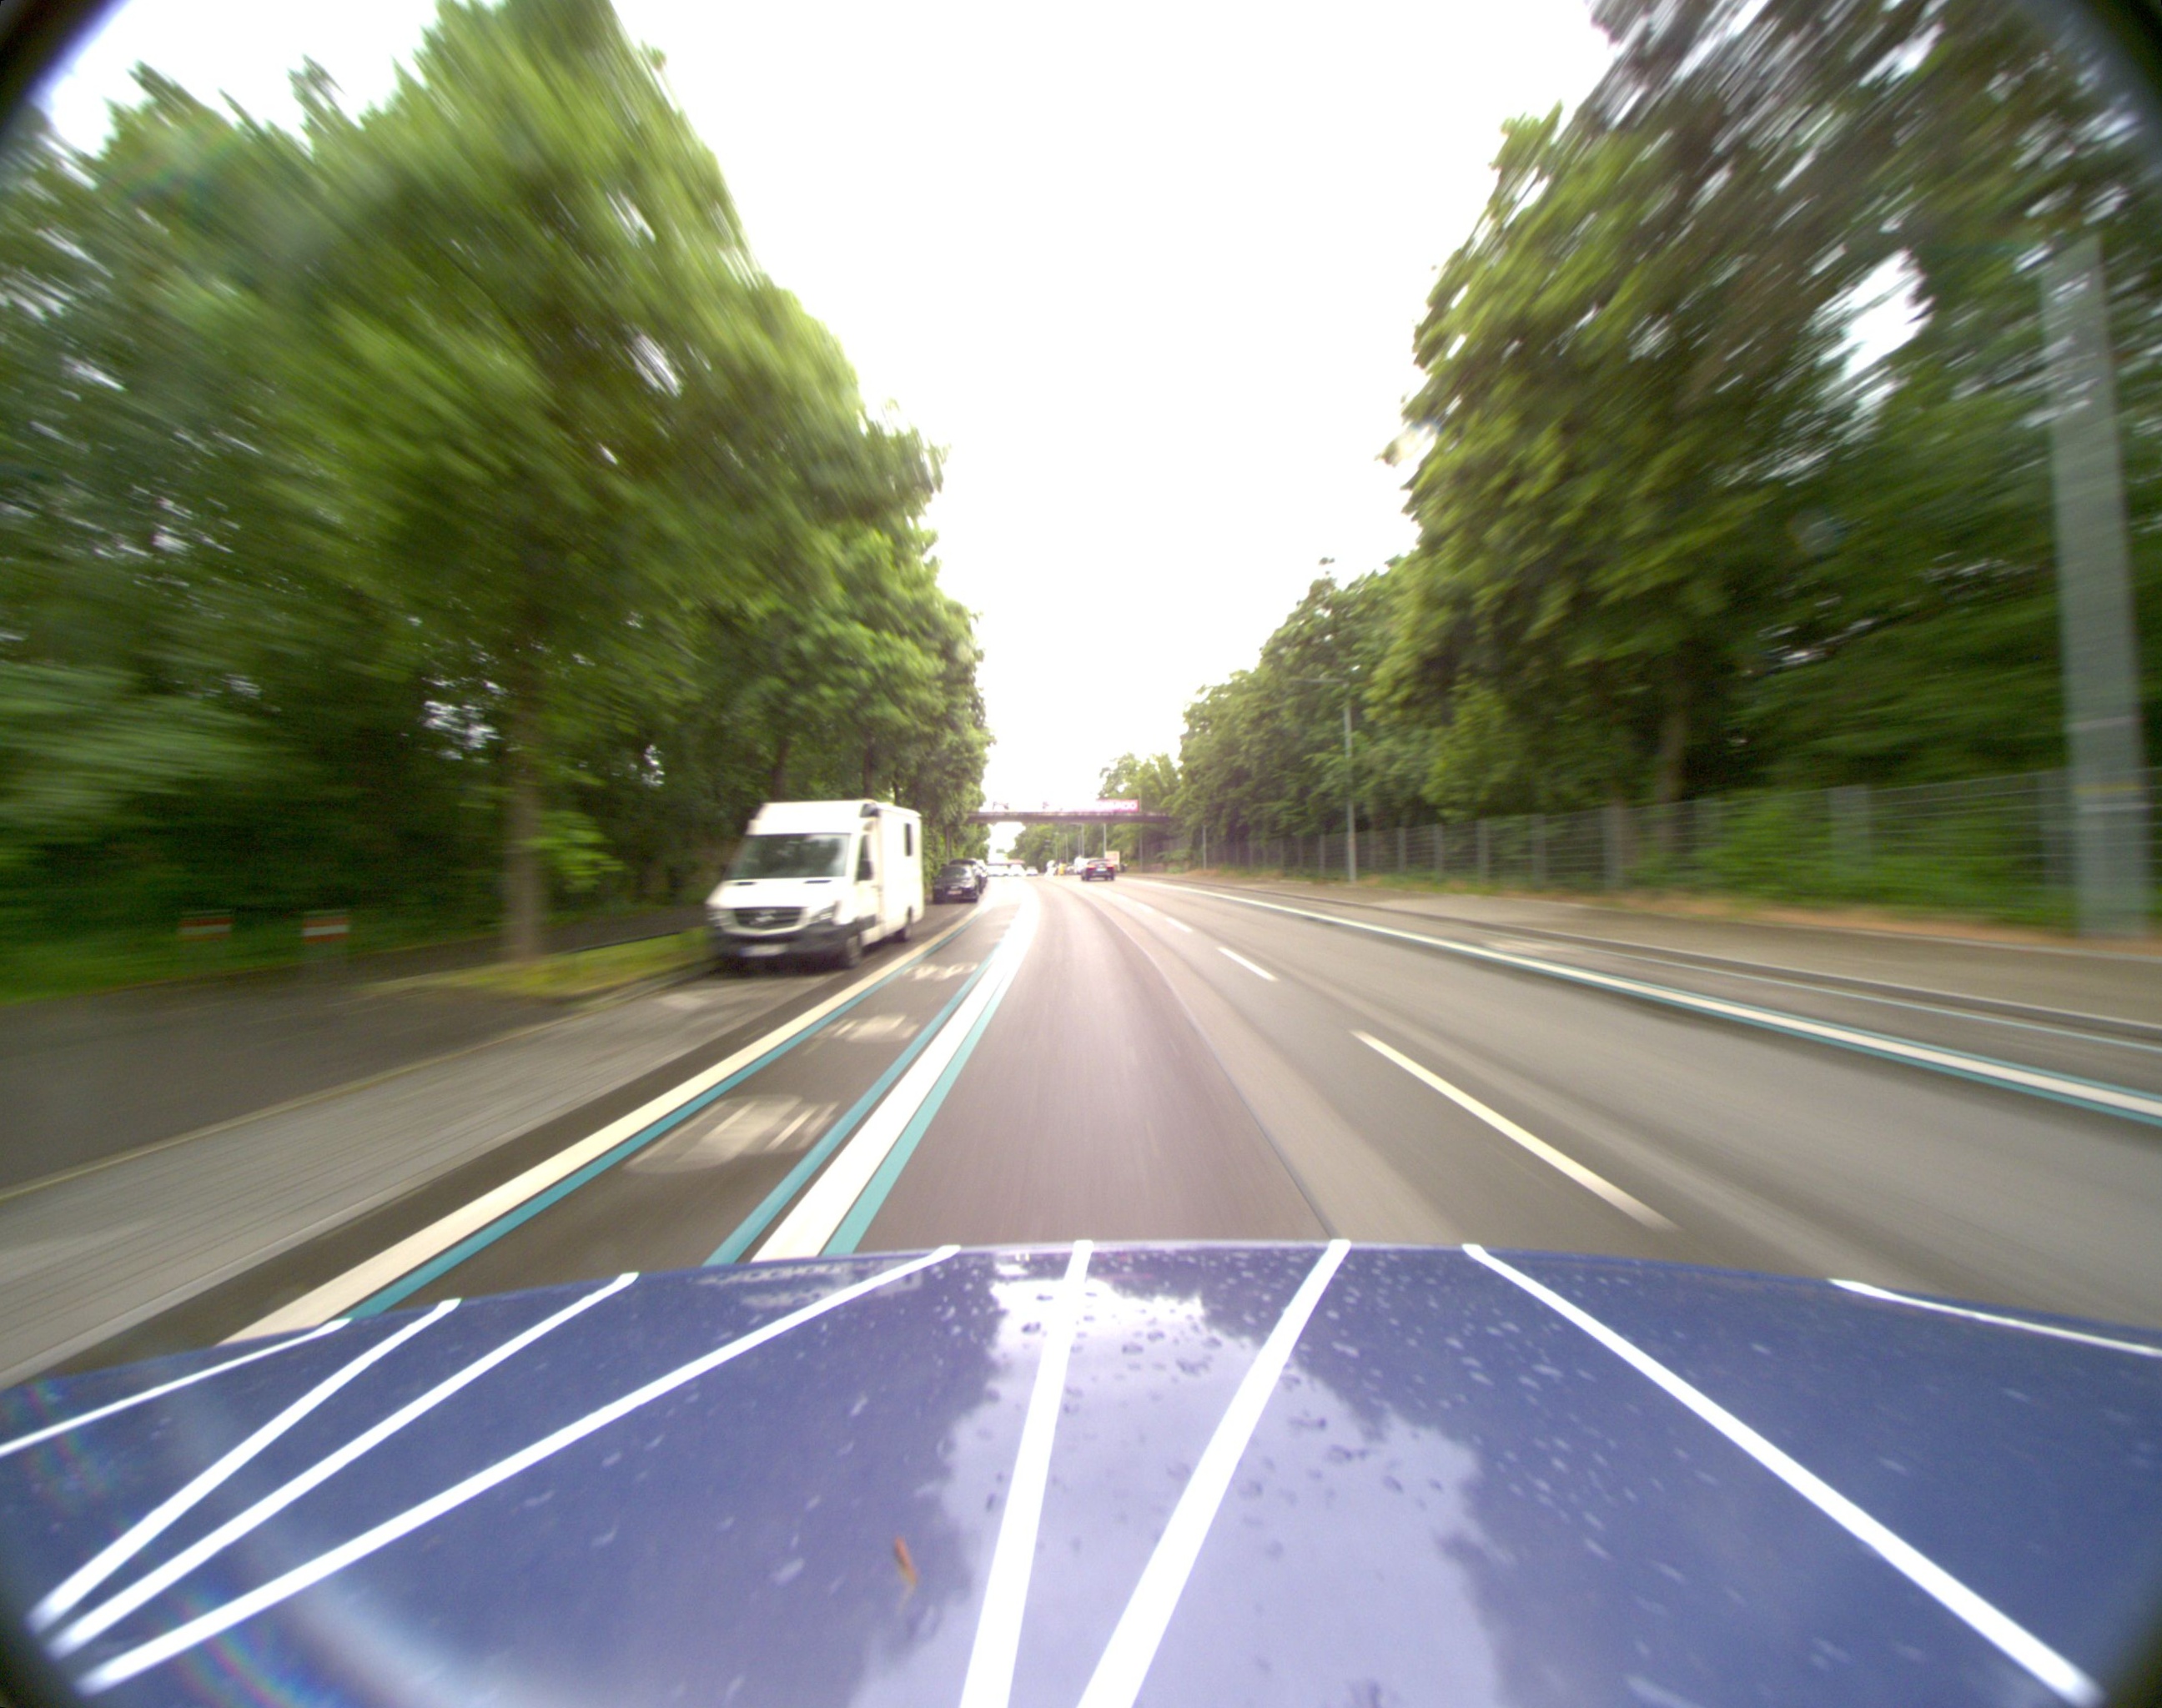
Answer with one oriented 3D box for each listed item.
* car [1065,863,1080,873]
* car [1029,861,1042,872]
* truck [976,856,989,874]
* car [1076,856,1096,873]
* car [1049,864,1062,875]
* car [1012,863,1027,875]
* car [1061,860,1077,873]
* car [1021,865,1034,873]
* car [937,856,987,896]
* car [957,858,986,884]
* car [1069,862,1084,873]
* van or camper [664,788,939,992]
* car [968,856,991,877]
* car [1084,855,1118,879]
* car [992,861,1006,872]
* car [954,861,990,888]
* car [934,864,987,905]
[{"bbox_3d":[-1.279,2.086,112.243,1.715,1.495,4.149,0,-2,-6],"label":"car"},{"bbox_3d":[-7.026,1.939,117.862,1.802,1.567,4.100,-1,0,-6],"label":"car"},{"bbox_3d":[-13.202,1.546,101.929,1.724,2.319,3.999,-1,-2,-7],"label":"truck"},{"bbox_3d":[0.618,1.314,93.640,1.984,1.902,5.226,-1,-2,-5],"label":"car"},{"bbox_3d":[-4.645,2.942,139.827,1.878,1.965,4.733,0,-2,-8],"label":"car"},{"bbox_3d":[-8.381,2.039,103.434,1.829,1.453,3.880,-2,-1,-7],"label":"car"},{"bbox_3d":[-1.916,1.961,117.781,2.000,1.901,4.843,-1,-2,-7],"label":"car"},{"bbox_3d":[-9.892,2.765,140.366,1.978,1.542,3.868,-1,-1,-7],"label":"car"},{"bbox_3d":[-5.580,0.987,36.125,1.999,1.636,4.345,-4,1,-5],"label":"car"},{"bbox_3d":[-7.034,1.069,49.198,1.666,1.526,3.739,-2,0,-7],"label":"car"},{"bbox_3d":[-0.683,1.975,107.392,1.613,1.437,4.037,0,-2,-7],"label":"car"},{"bbox_3d":[-4.334,0.487,13.342,2.322,2.649,6.382,-2,0,0],"label":"van or camper"},{"bbox_3d":[-8.080,0.955,60.196,1.719,1.609,4.258,-1,0,-8],"label":"car"},{"bbox_3d":[1.271,0.827,49.769,1.765,1.428,4.149,-2,0,-4],"label":"car"},{"bbox_3d":[-10.854,1.646,100.712,1.727,1.389,4.589,-1,-2,-7],"label":"car"},{"bbox_3d":[-6.270,1.159,44.198,1.780,1.340,4.464,-2,1,-5],"label":"car"},{"bbox_3d":[-4.688,1.147,29.988,1.683,1.368,3.998,-1,1,-4],"label":"car"}]
